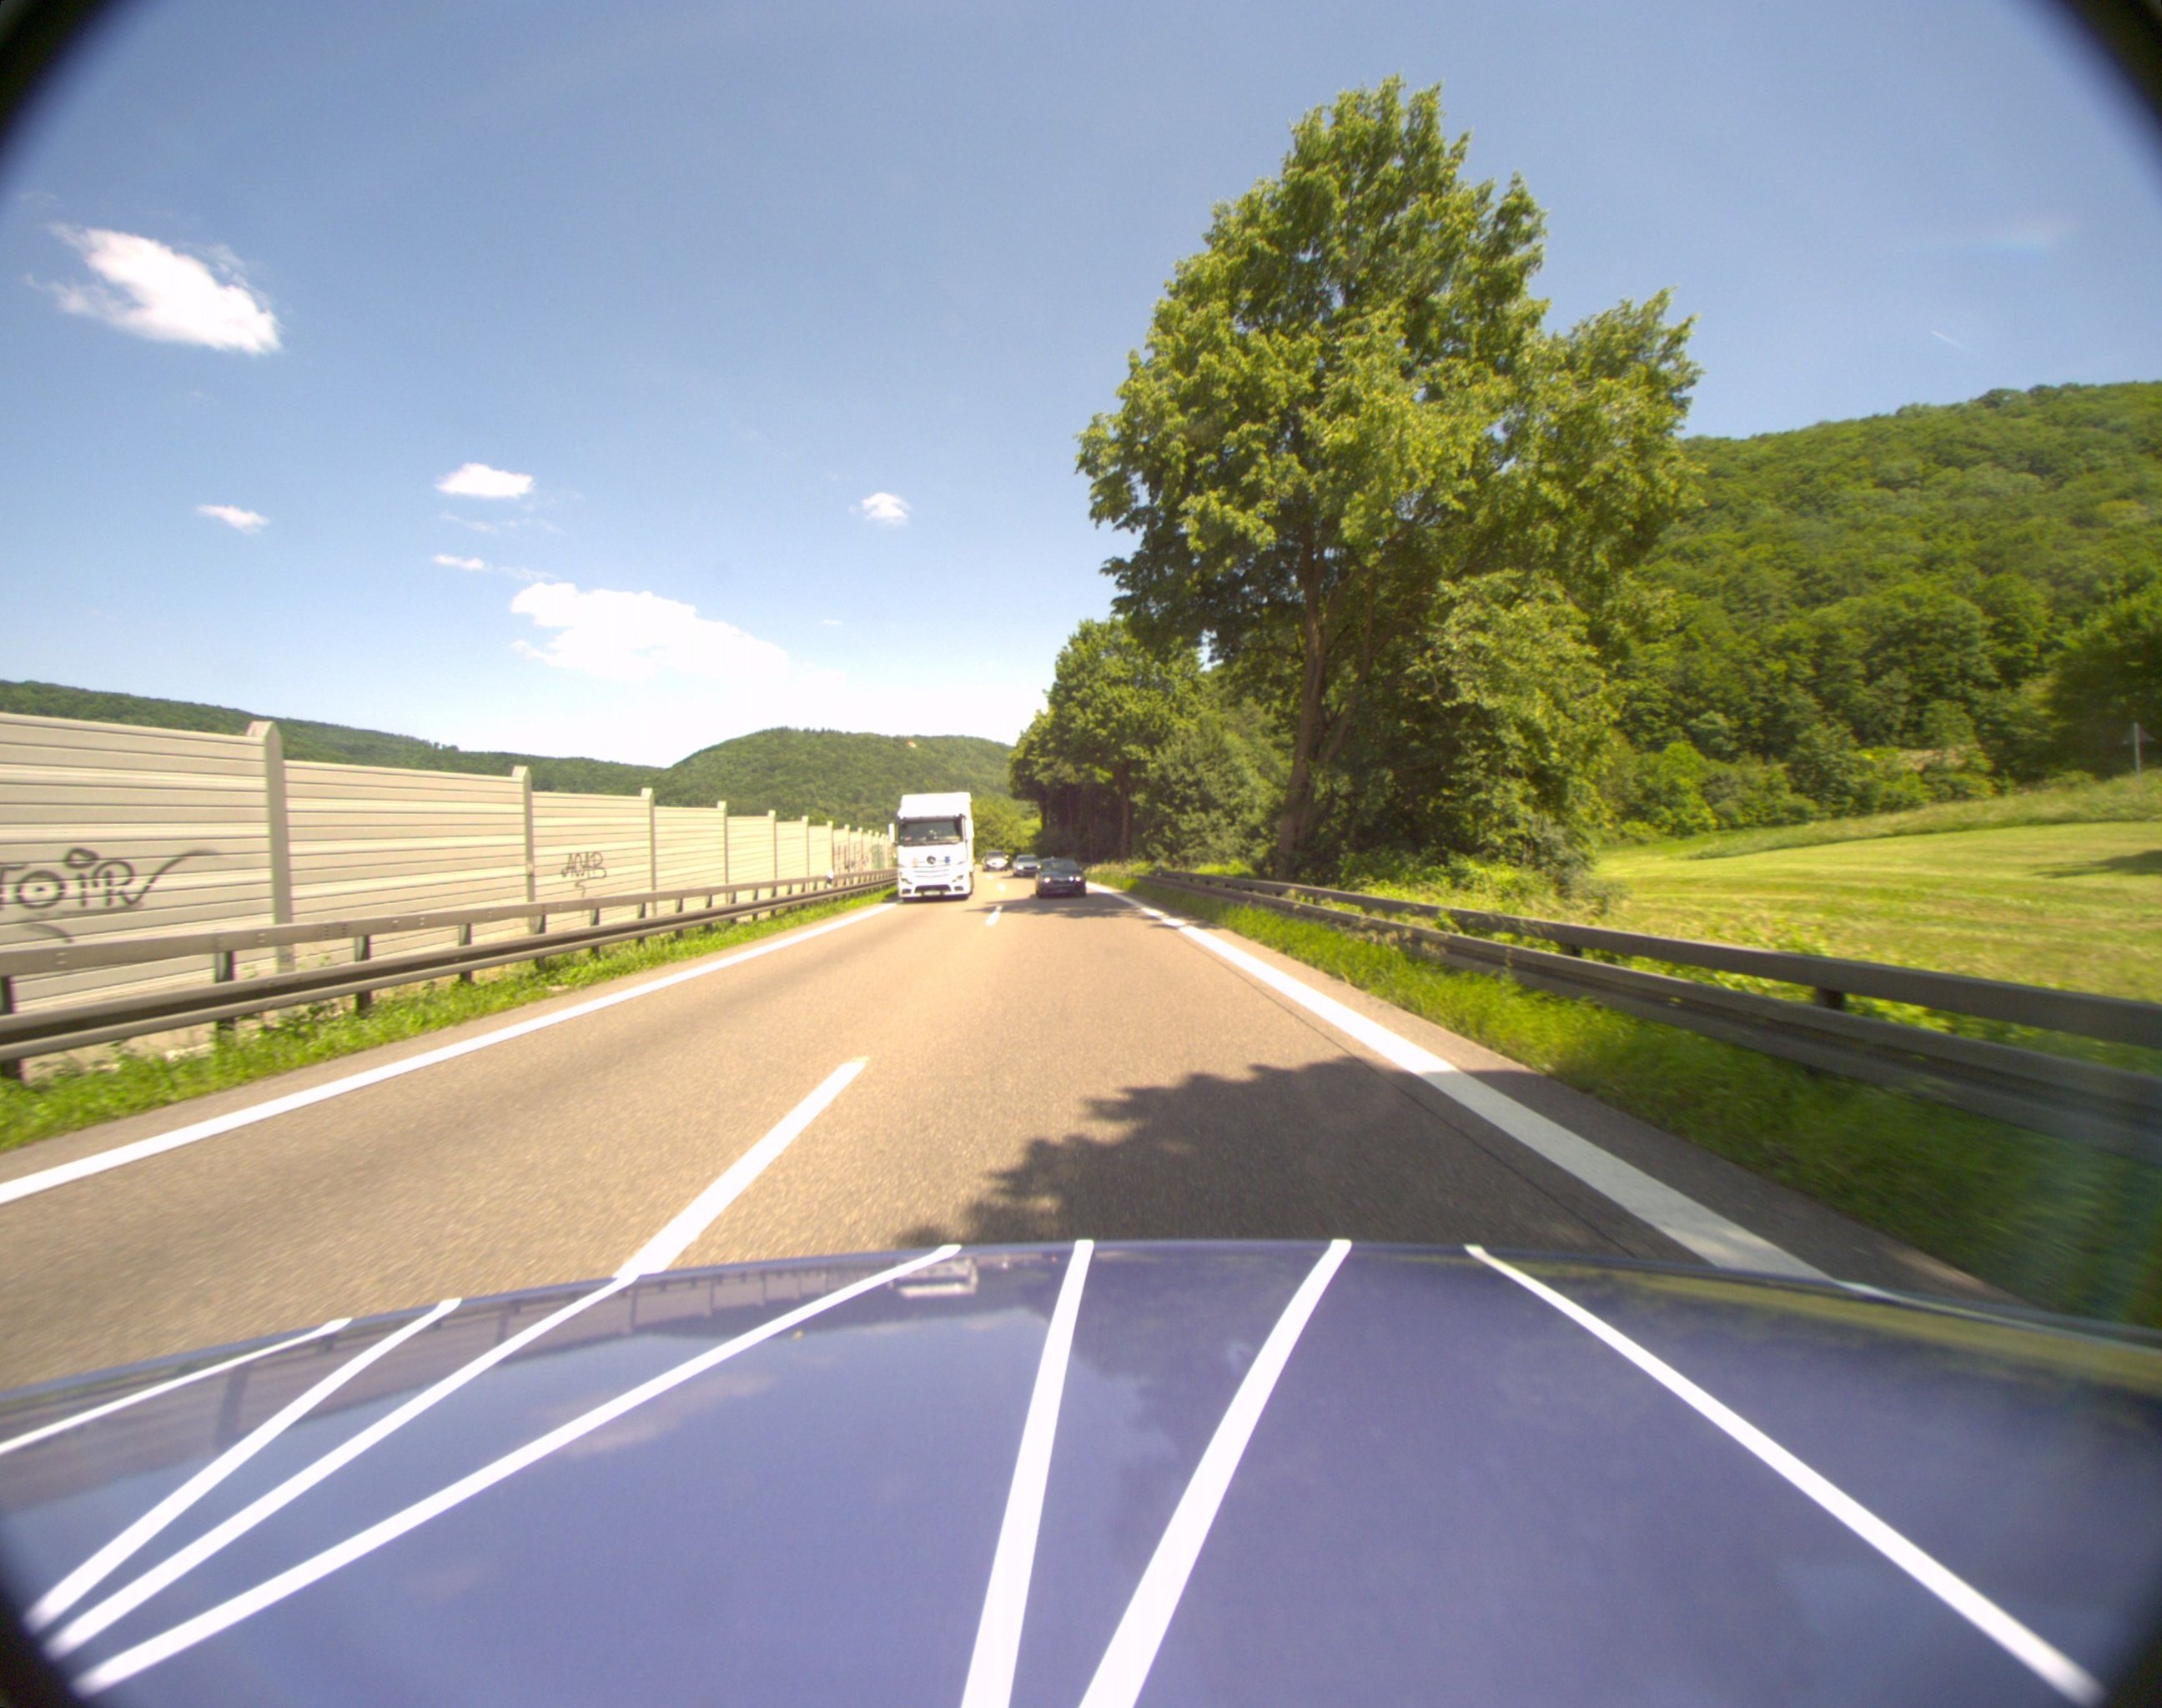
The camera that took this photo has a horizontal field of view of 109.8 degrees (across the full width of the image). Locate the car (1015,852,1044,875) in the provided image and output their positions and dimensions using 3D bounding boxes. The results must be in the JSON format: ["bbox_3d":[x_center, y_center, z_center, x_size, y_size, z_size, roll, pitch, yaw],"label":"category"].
[{"bbox_3d":[-3.671,0.647,53.319,1.716,1.541,3.996,0,1,-8],"label":"car"}]

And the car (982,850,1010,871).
[{"bbox_3d":[-7.805,0.604,69.463,2.046,1.855,3.996,-1,0,-13],"label":"car"}]

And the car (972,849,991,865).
[{"bbox_3d":[-13.200,0.358,100.539,2.001,2.002,3.995,-1,0,-14],"label":"car"}]

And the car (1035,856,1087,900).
[{"bbox_3d":[-0.787,0.826,27.815,1.663,1.435,3.473,-2,0,-5],"label":"car"}]

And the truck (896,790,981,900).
[{"bbox_3d":[-6.254,-0.363,35.094,2.863,4.124,12.039,-2,0,-7],"label":"truck"}]

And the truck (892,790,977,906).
[{"bbox_3d":[-5.609,-0.212,30.191,2.766,4.015,6.819,-2,0,-7],"label":"truck"}]
